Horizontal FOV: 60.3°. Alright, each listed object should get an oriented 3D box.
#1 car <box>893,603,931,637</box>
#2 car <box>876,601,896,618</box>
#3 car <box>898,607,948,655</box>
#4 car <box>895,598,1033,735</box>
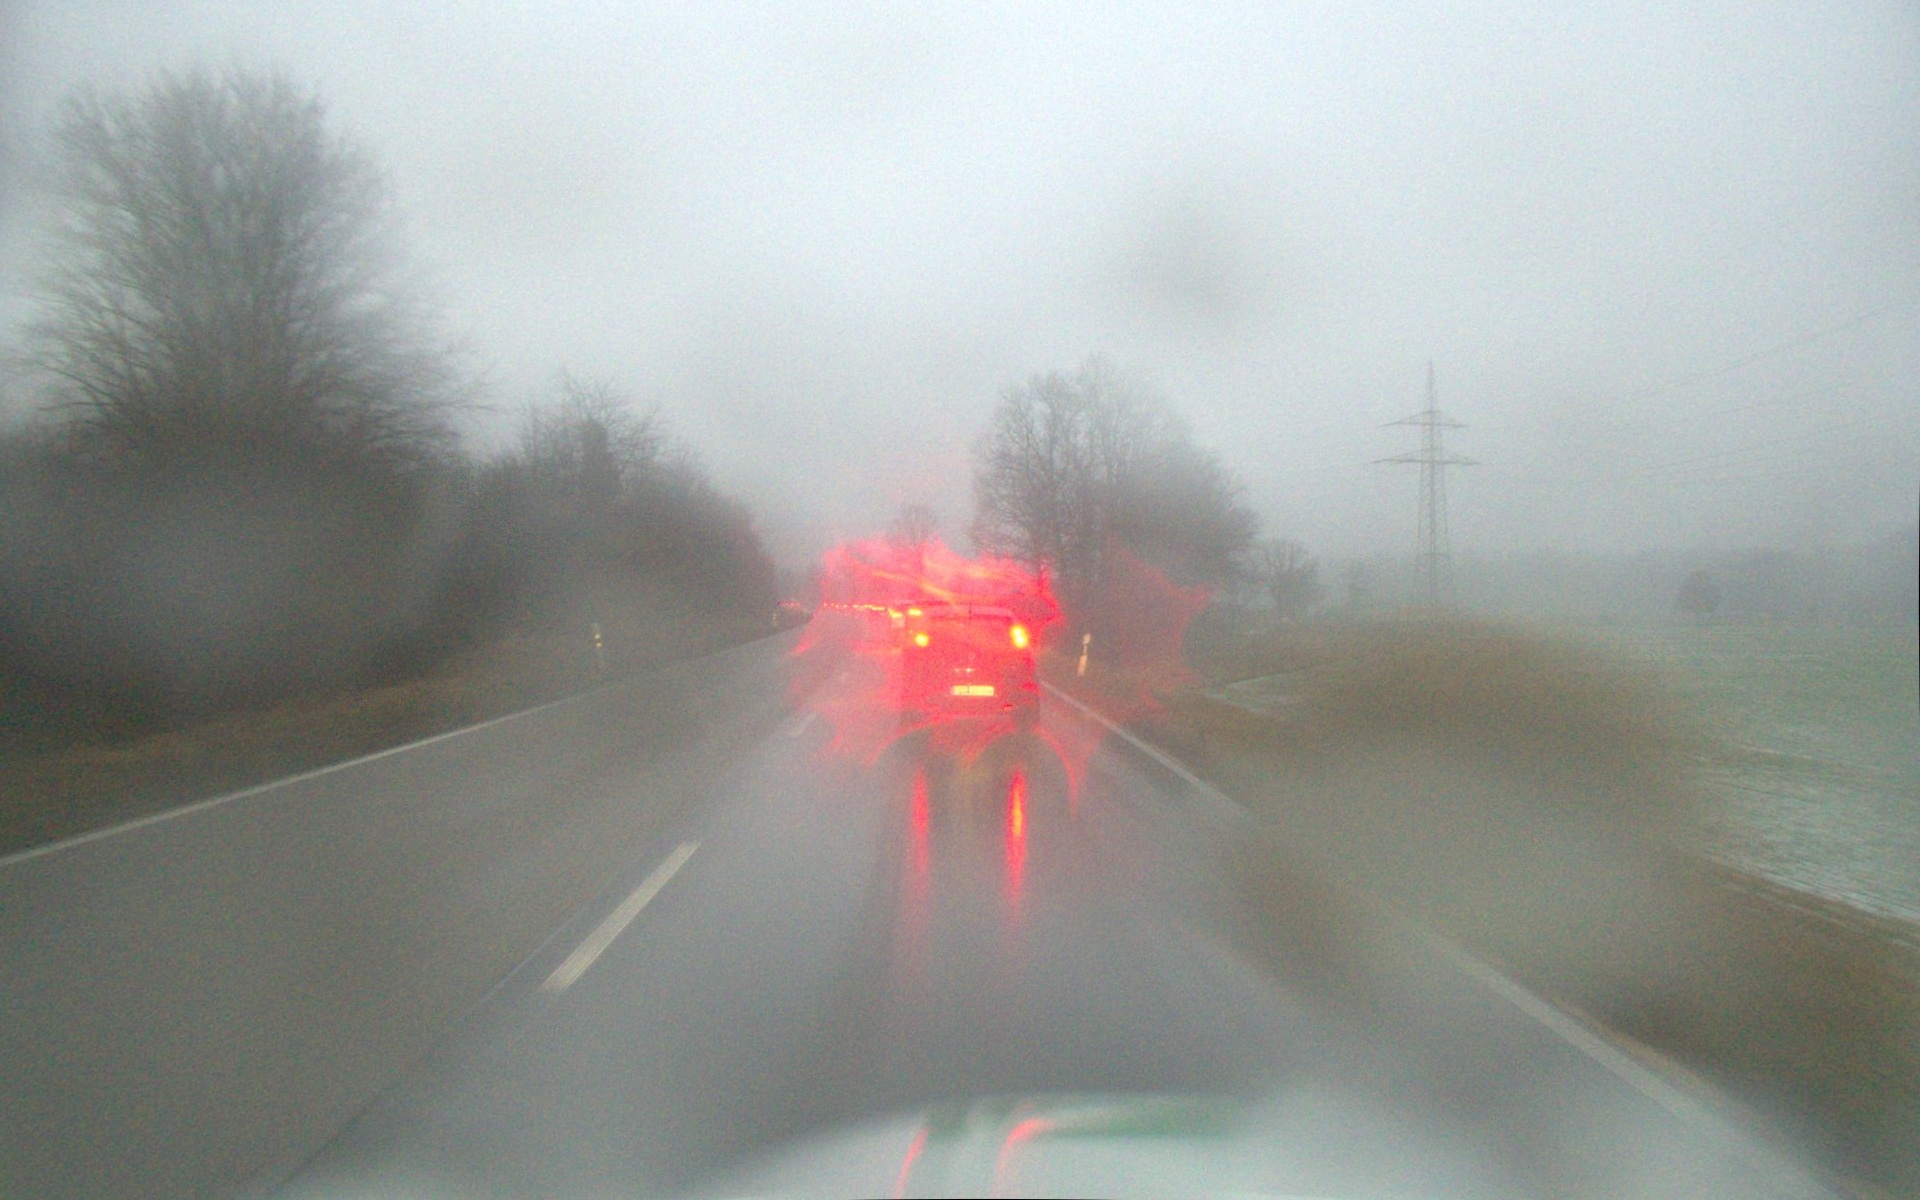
[{"bbox_3d":[-2.071,0.850,72.147,1.515,1.421,3.869,1,0,0],"label":"car"},{"bbox_3d":[-6.337,0.834,142.123,1.515,1.421,3.868,1,0,-1],"label":"car"},{"bbox_3d":[-1.188,0.953,52.477,1.515,1.421,3.868,1,0,-2],"label":"car"},{"bbox_3d":[0.084,0.777,20.915,1.569,1.549,3.870,1,0,1],"label":"car"}]
